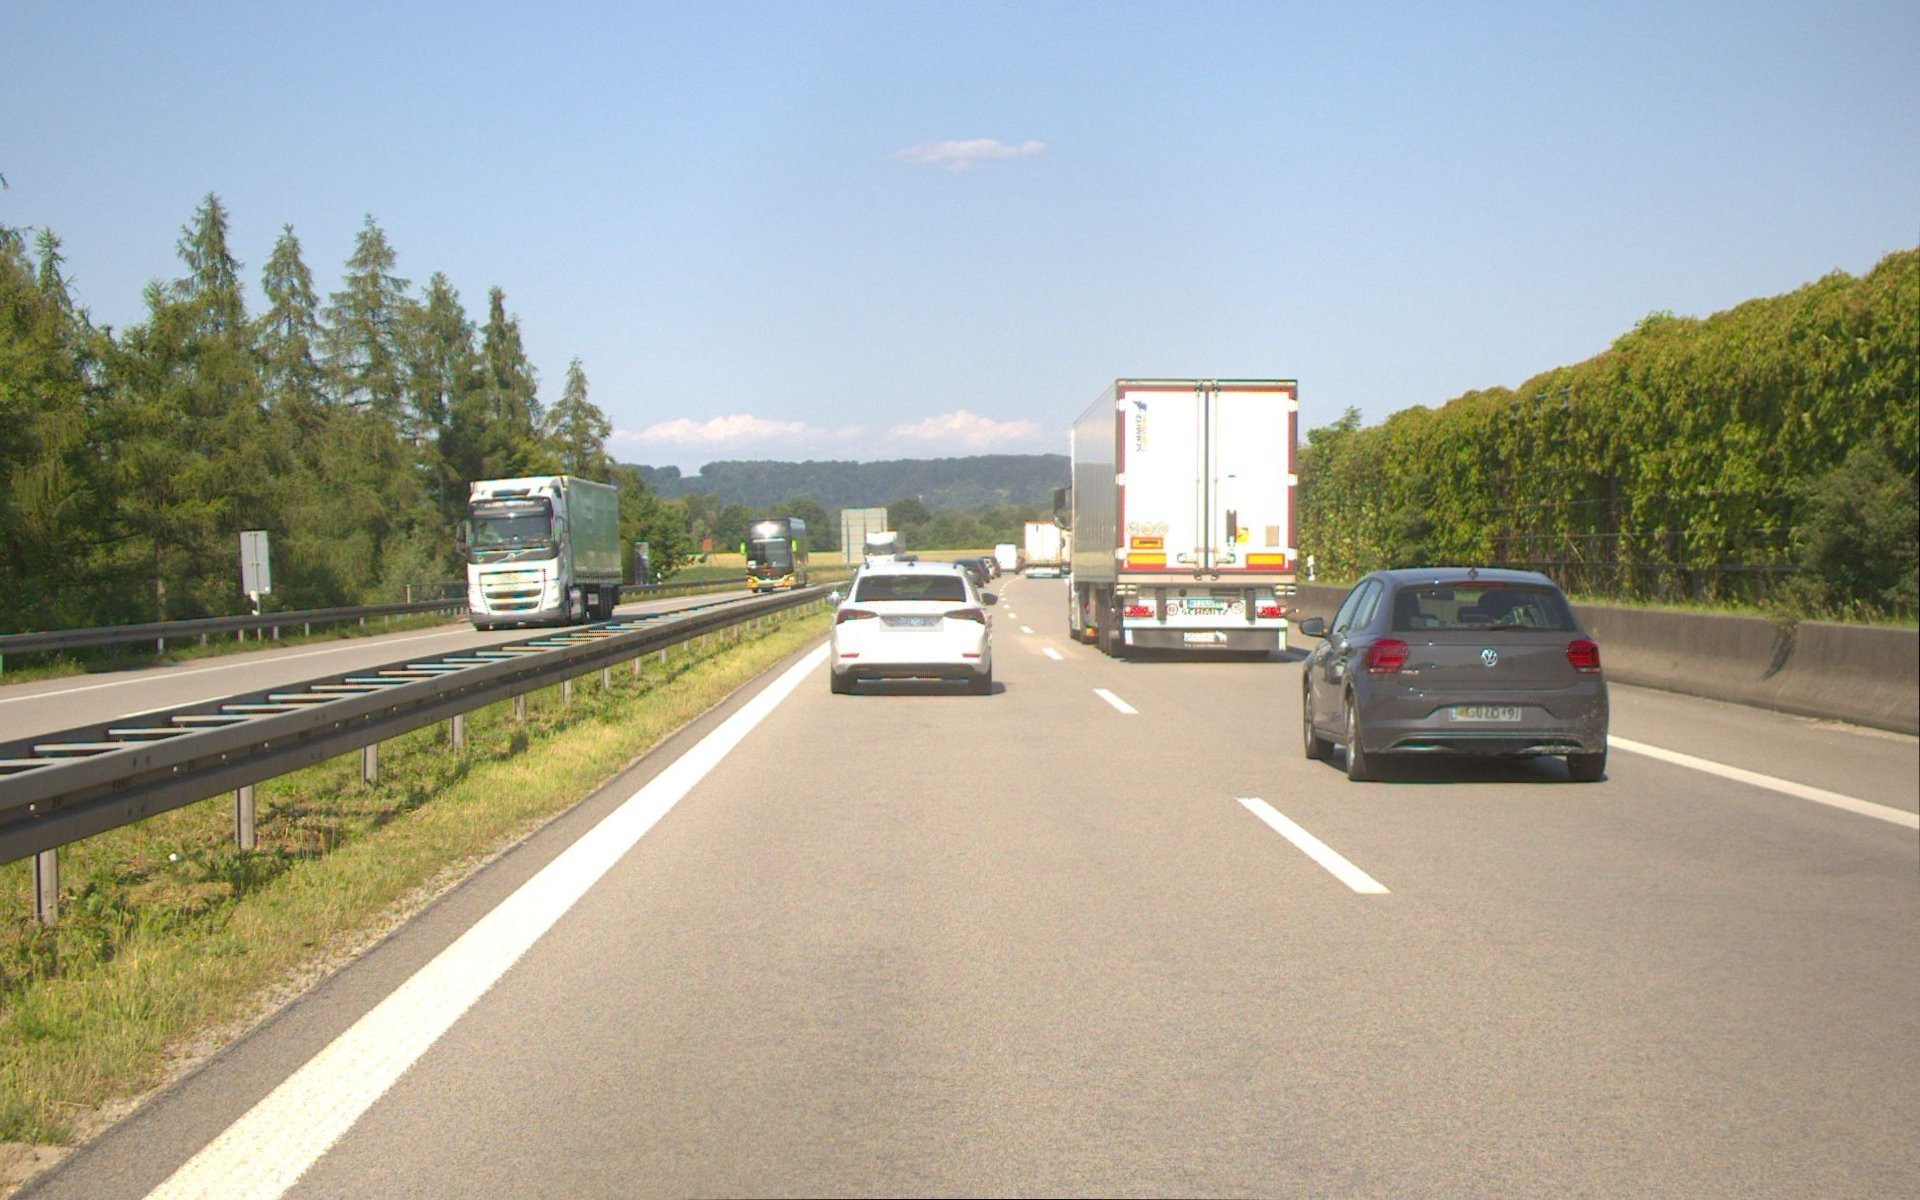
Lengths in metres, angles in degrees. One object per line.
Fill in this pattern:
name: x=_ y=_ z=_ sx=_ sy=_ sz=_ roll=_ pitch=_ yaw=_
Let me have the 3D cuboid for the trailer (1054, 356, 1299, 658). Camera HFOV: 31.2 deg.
trailer: x=3.093 y=-1.359 z=53.121 sx=2.818 sy=3.953 sz=14.161 roll=-2 pitch=1 yaw=0

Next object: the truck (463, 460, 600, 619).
truck: x=-11.418 y=-1.611 z=92.197 sx=2.644 sy=3.994 sz=7.193 roll=-2 pitch=1 yaw=0

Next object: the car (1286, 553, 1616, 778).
car: x=3.387 y=0.390 z=24.474 sx=1.665 sy=1.449 sz=4.544 roll=0 pitch=1 yaw=0

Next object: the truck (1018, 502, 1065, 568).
truck: x=5.831 y=-4.631 z=247.164 sx=3.152 sy=4.596 sz=8.905 roll=-1 pitch=1 yaw=1

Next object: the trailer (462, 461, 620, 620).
trailer: x=-11.511 y=-1.654 z=95.758 sx=2.661 sy=3.994 sz=14.088 roll=-2 pitch=1 yaw=-1

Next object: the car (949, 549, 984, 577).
car: x=0.317 y=-1.895 z=174.648 sx=1.771 sy=1.416 sz=4.495 roll=0 pitch=1 yaw=0

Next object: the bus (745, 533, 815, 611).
bus: x=-9.964 y=-1.620 z=191.400 sx=2.936 sy=4.040 sz=14.669 roll=-2 pitch=1 yaw=0

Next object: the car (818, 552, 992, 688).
car: x=-0.602 y=0.175 z=39.103 sx=1.840 sy=1.416 sz=5.255 roll=0 pitch=1 yaw=0

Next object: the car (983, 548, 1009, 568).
car: x=2.662 y=-3.100 z=252.943 sx=1.771 sy=1.416 sz=4.364 roll=0 pitch=1 yaw=2

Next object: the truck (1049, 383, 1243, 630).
truck: x=3.141 y=-1.595 z=59.855 sx=2.840 sy=3.953 sz=7.044 roll=-2 pitch=1 yaw=0

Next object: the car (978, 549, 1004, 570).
car: x=2.134 y=-2.778 z=236.452 sx=1.771 sy=1.416 sz=4.365 roll=0 pitch=1 yaw=1
